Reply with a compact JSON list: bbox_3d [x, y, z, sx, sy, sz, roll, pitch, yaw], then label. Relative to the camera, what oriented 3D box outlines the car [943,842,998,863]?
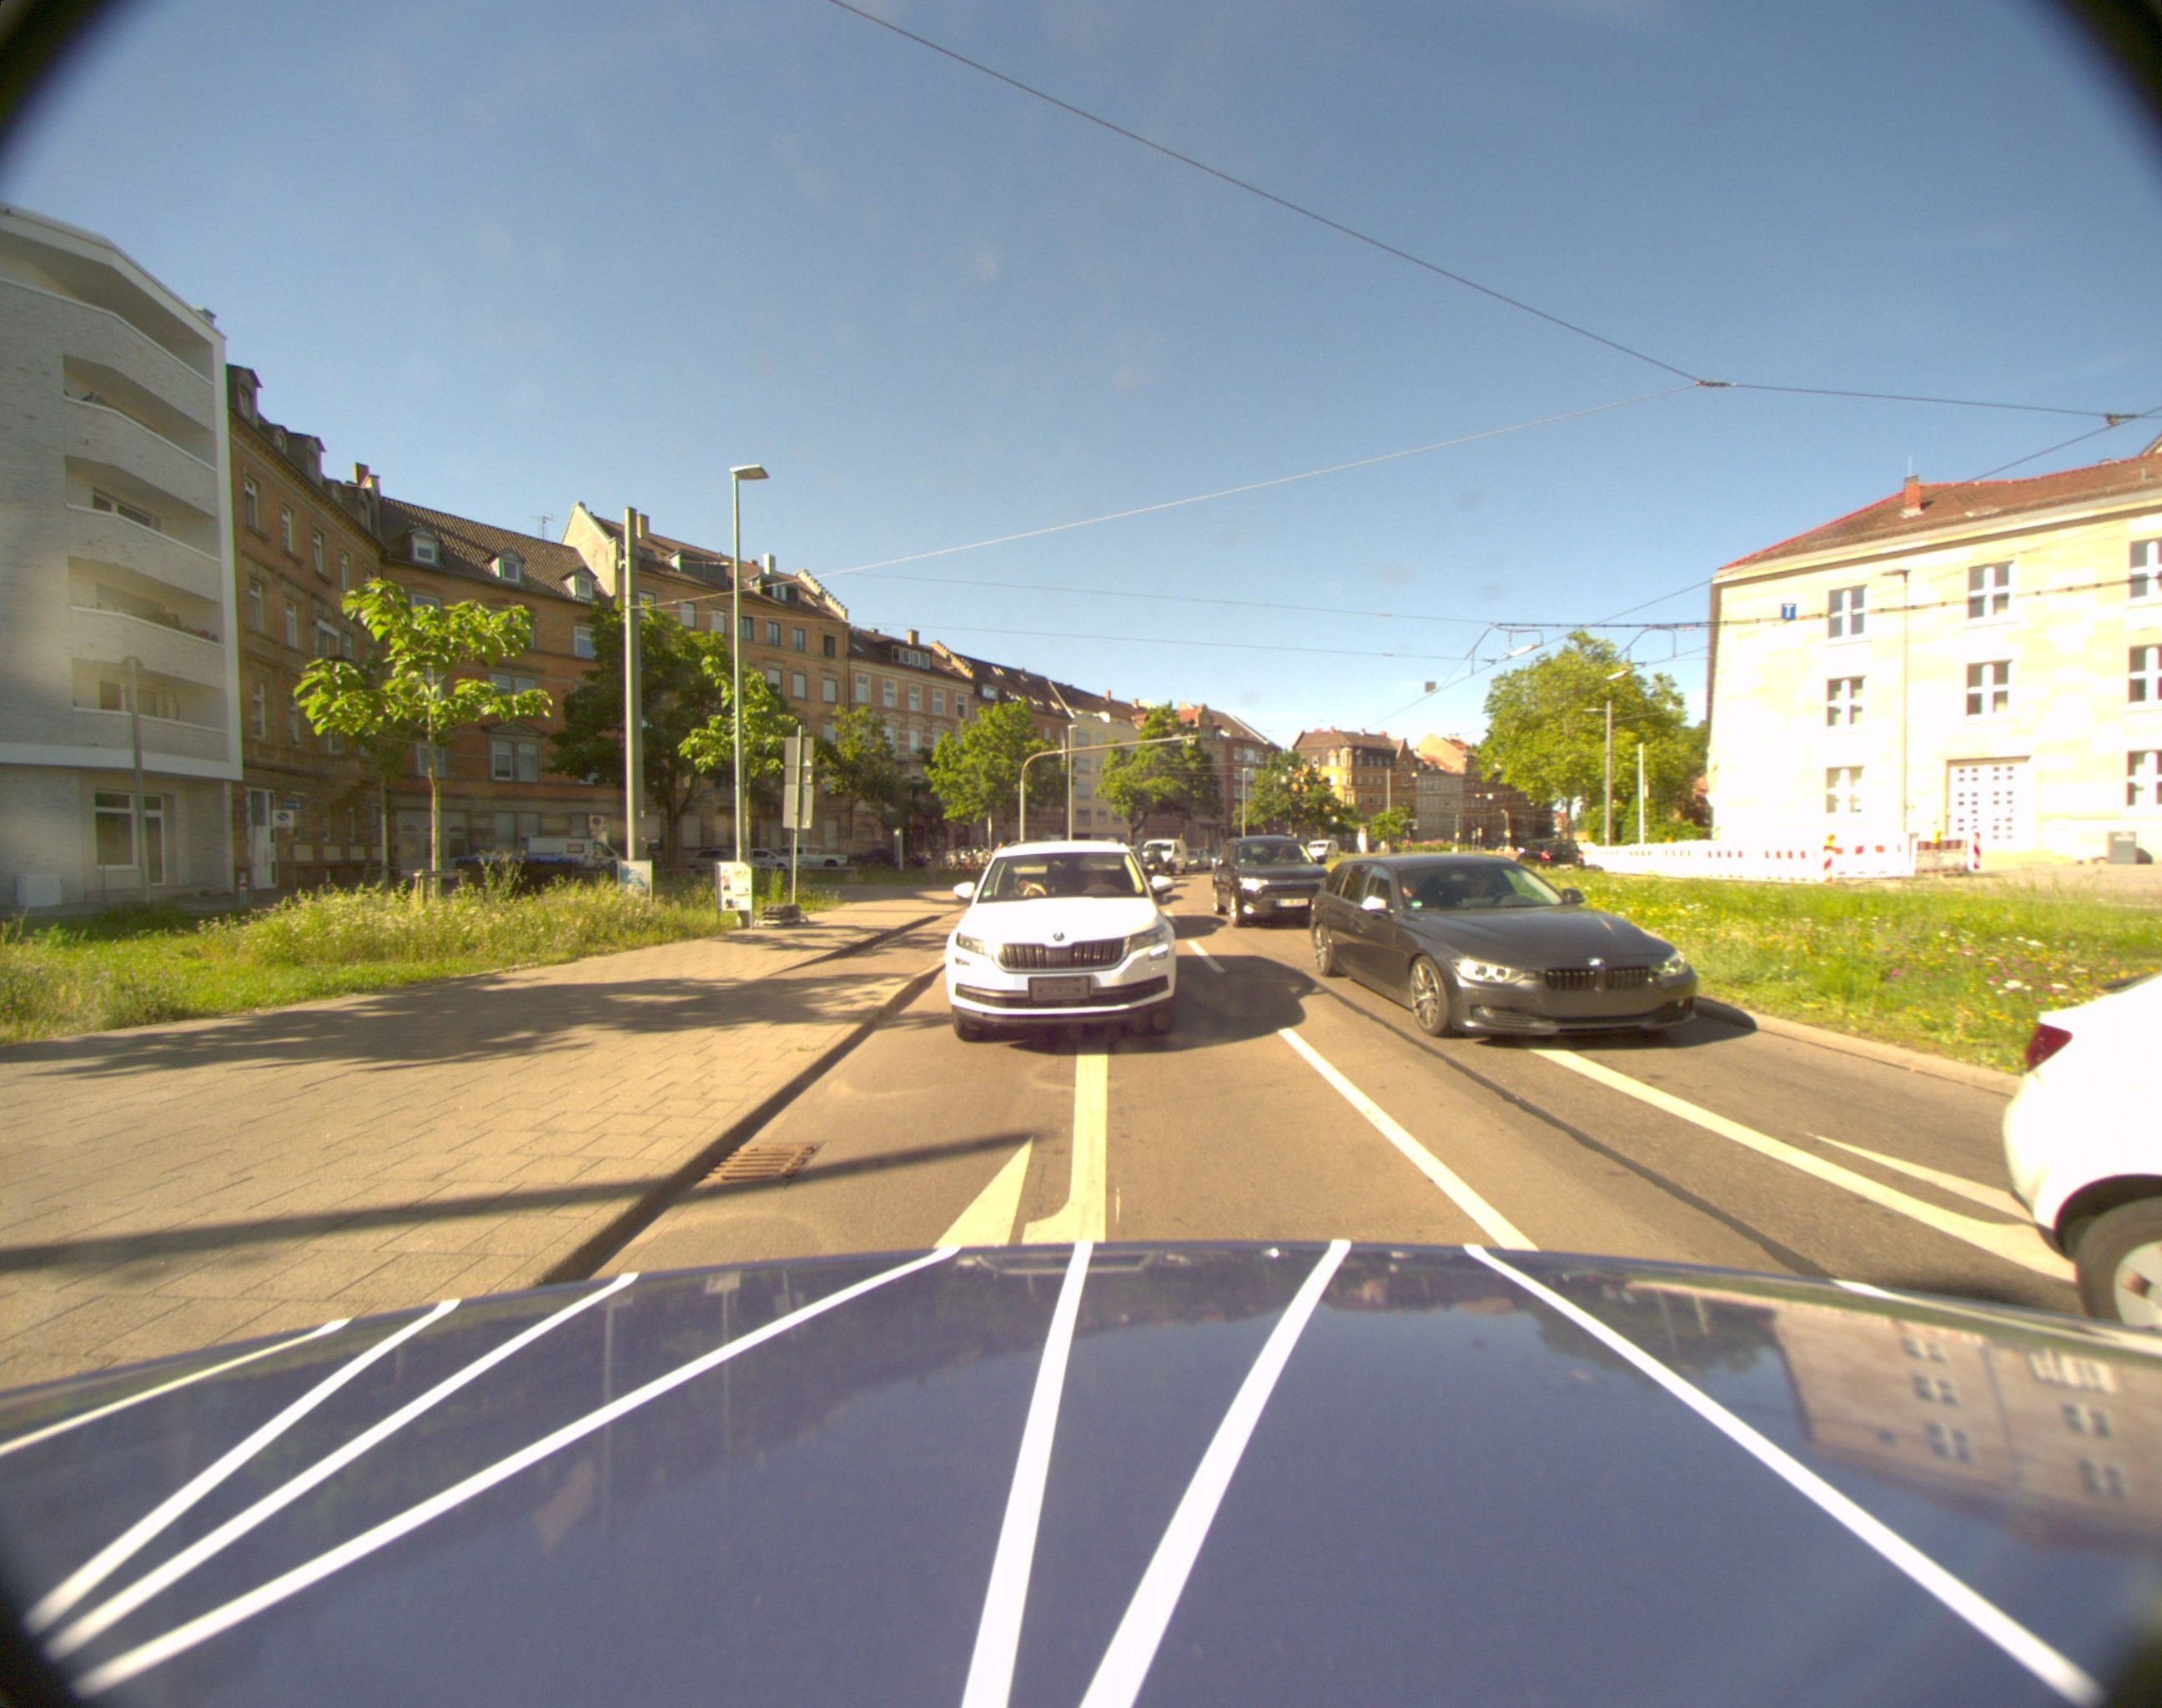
[{"bbox_3d":[-7.658,-0.108,52.818,3.462,1.324,1.732,-1,1,3],"label":"car"}]

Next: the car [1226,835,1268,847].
[{"bbox_3d":[18.837,-1.475,86.191,4.397,1.203,2.000,-1,1,3],"label":"car"}]

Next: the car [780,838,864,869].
[{"bbox_3d":[-14.610,-0.044,42.966,3.996,1.652,2.000,-1,1,3],"label":"car"}]

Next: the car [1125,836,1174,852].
[{"bbox_3d":[6.605,-1.002,72.932,4.393,1.453,2.002,-1,1,13],"label":"car"}]

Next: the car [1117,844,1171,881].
[{"bbox_3d":[3.063,0.365,36.246,1.871,1.605,3.912,-1,1,15],"label":"car"}]

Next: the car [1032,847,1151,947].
[{"bbox_3d":[0.197,0.673,14.165,1.873,1.547,3.999,-1,1,1],"label":"car"}]

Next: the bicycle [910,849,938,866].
[{"bbox_3d":[-9.609,0.231,46.545,1.757,1.018,0.453,0,1,26],"label":"bicycle"}]

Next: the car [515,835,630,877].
[{"bbox_3d":[-27.103,0.052,40.616,1.994,2.100,4.651,0,1,40],"label":"car"}]

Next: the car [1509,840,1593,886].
[{"bbox_3d":[19.025,0.305,30.955,1.767,1.740,4.004,-1,1,14],"label":"car"}]

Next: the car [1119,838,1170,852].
[{"bbox_3d":[5.848,-0.847,70.076,4.393,1.227,2.002,-1,1,13],"label":"car"}]

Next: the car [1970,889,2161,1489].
[{"bbox_3d":[3.424,0.819,0.287,1.668,1.422,3.835,-4,1,1],"label":"car"}]

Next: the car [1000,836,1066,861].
[{"bbox_3d":[-3.587,-0.441,57.698,4.789,1.761,1.732,-1,1,3],"label":"car"}]

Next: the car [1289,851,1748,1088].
[{"bbox_3d":[3.440,0.747,7.154,1.840,1.422,4.483,-2,1,2],"label":"car"}]

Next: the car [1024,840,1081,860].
[{"bbox_3d":[-2.265,-0.298,60.618,4.397,1.498,2.000,-1,1,2],"label":"car"}]

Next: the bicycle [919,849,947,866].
[{"bbox_3d":[-9.248,0.212,47.448,1.757,1.018,0.453,0,1,26],"label":"bicycle"}]

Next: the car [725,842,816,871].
[{"bbox_3d":[-16.557,0.117,40.687,3.996,1.456,2.000,-1,1,3],"label":"car"}]

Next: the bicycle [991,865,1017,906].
[{"bbox_3d":[-2.382,0.931,23.323,0.697,1.099,2.009,0,3,-8],"label":"bicycle"}]

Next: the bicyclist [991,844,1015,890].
[{"bbox_3d":[-2.388,0.380,23.354,0.697,1.370,0.737,0,3,-8],"label":"bicyclist"}]

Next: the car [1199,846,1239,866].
[{"bbox_3d":[10.097,0.136,55.273,1.826,1.377,4.662,0,1,24],"label":"car"}]

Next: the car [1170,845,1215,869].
[{"bbox_3d":[7.106,0.176,48.143,1.870,1.439,3.914,0,1,24],"label":"car"}]

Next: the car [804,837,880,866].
[{"bbox_3d":[-14.742,-0.171,47.094,3.996,1.652,2.000,-1,1,3],"label":"car"}]

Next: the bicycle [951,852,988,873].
[{"bbox_3d":[-5.608,0.411,38.308,1.764,1.018,0.567,-1,1,-26],"label":"bicycle"}]

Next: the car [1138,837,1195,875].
[{"bbox_3d":[4.853,0.059,42.484,1.870,1.970,4.662,0,1,24],"label":"car"}]

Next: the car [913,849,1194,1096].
[{"bbox_3d":[-0.157,0.792,7.320,1.873,1.621,4.337,-1,1,1],"label":"car"}]

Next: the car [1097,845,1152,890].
[{"bbox_3d":[1.627,0.446,28.349,1.873,1.547,4.000,-1,1,3],"label":"car"}]

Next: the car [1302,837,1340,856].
[{"bbox_3d":[19.958,-0.620,63.124,1.869,1.547,4.008,0,1,35],"label":"car"}]

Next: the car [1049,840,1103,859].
[{"bbox_3d":[-0.379,-0.383,62.862,4.397,1.453,2.000,-1,1,2],"label":"car"}]

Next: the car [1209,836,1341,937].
[{"bbox_3d":[3.671,0.524,15.092,1.768,1.675,4.328,-2,1,4],"label":"car"}]
